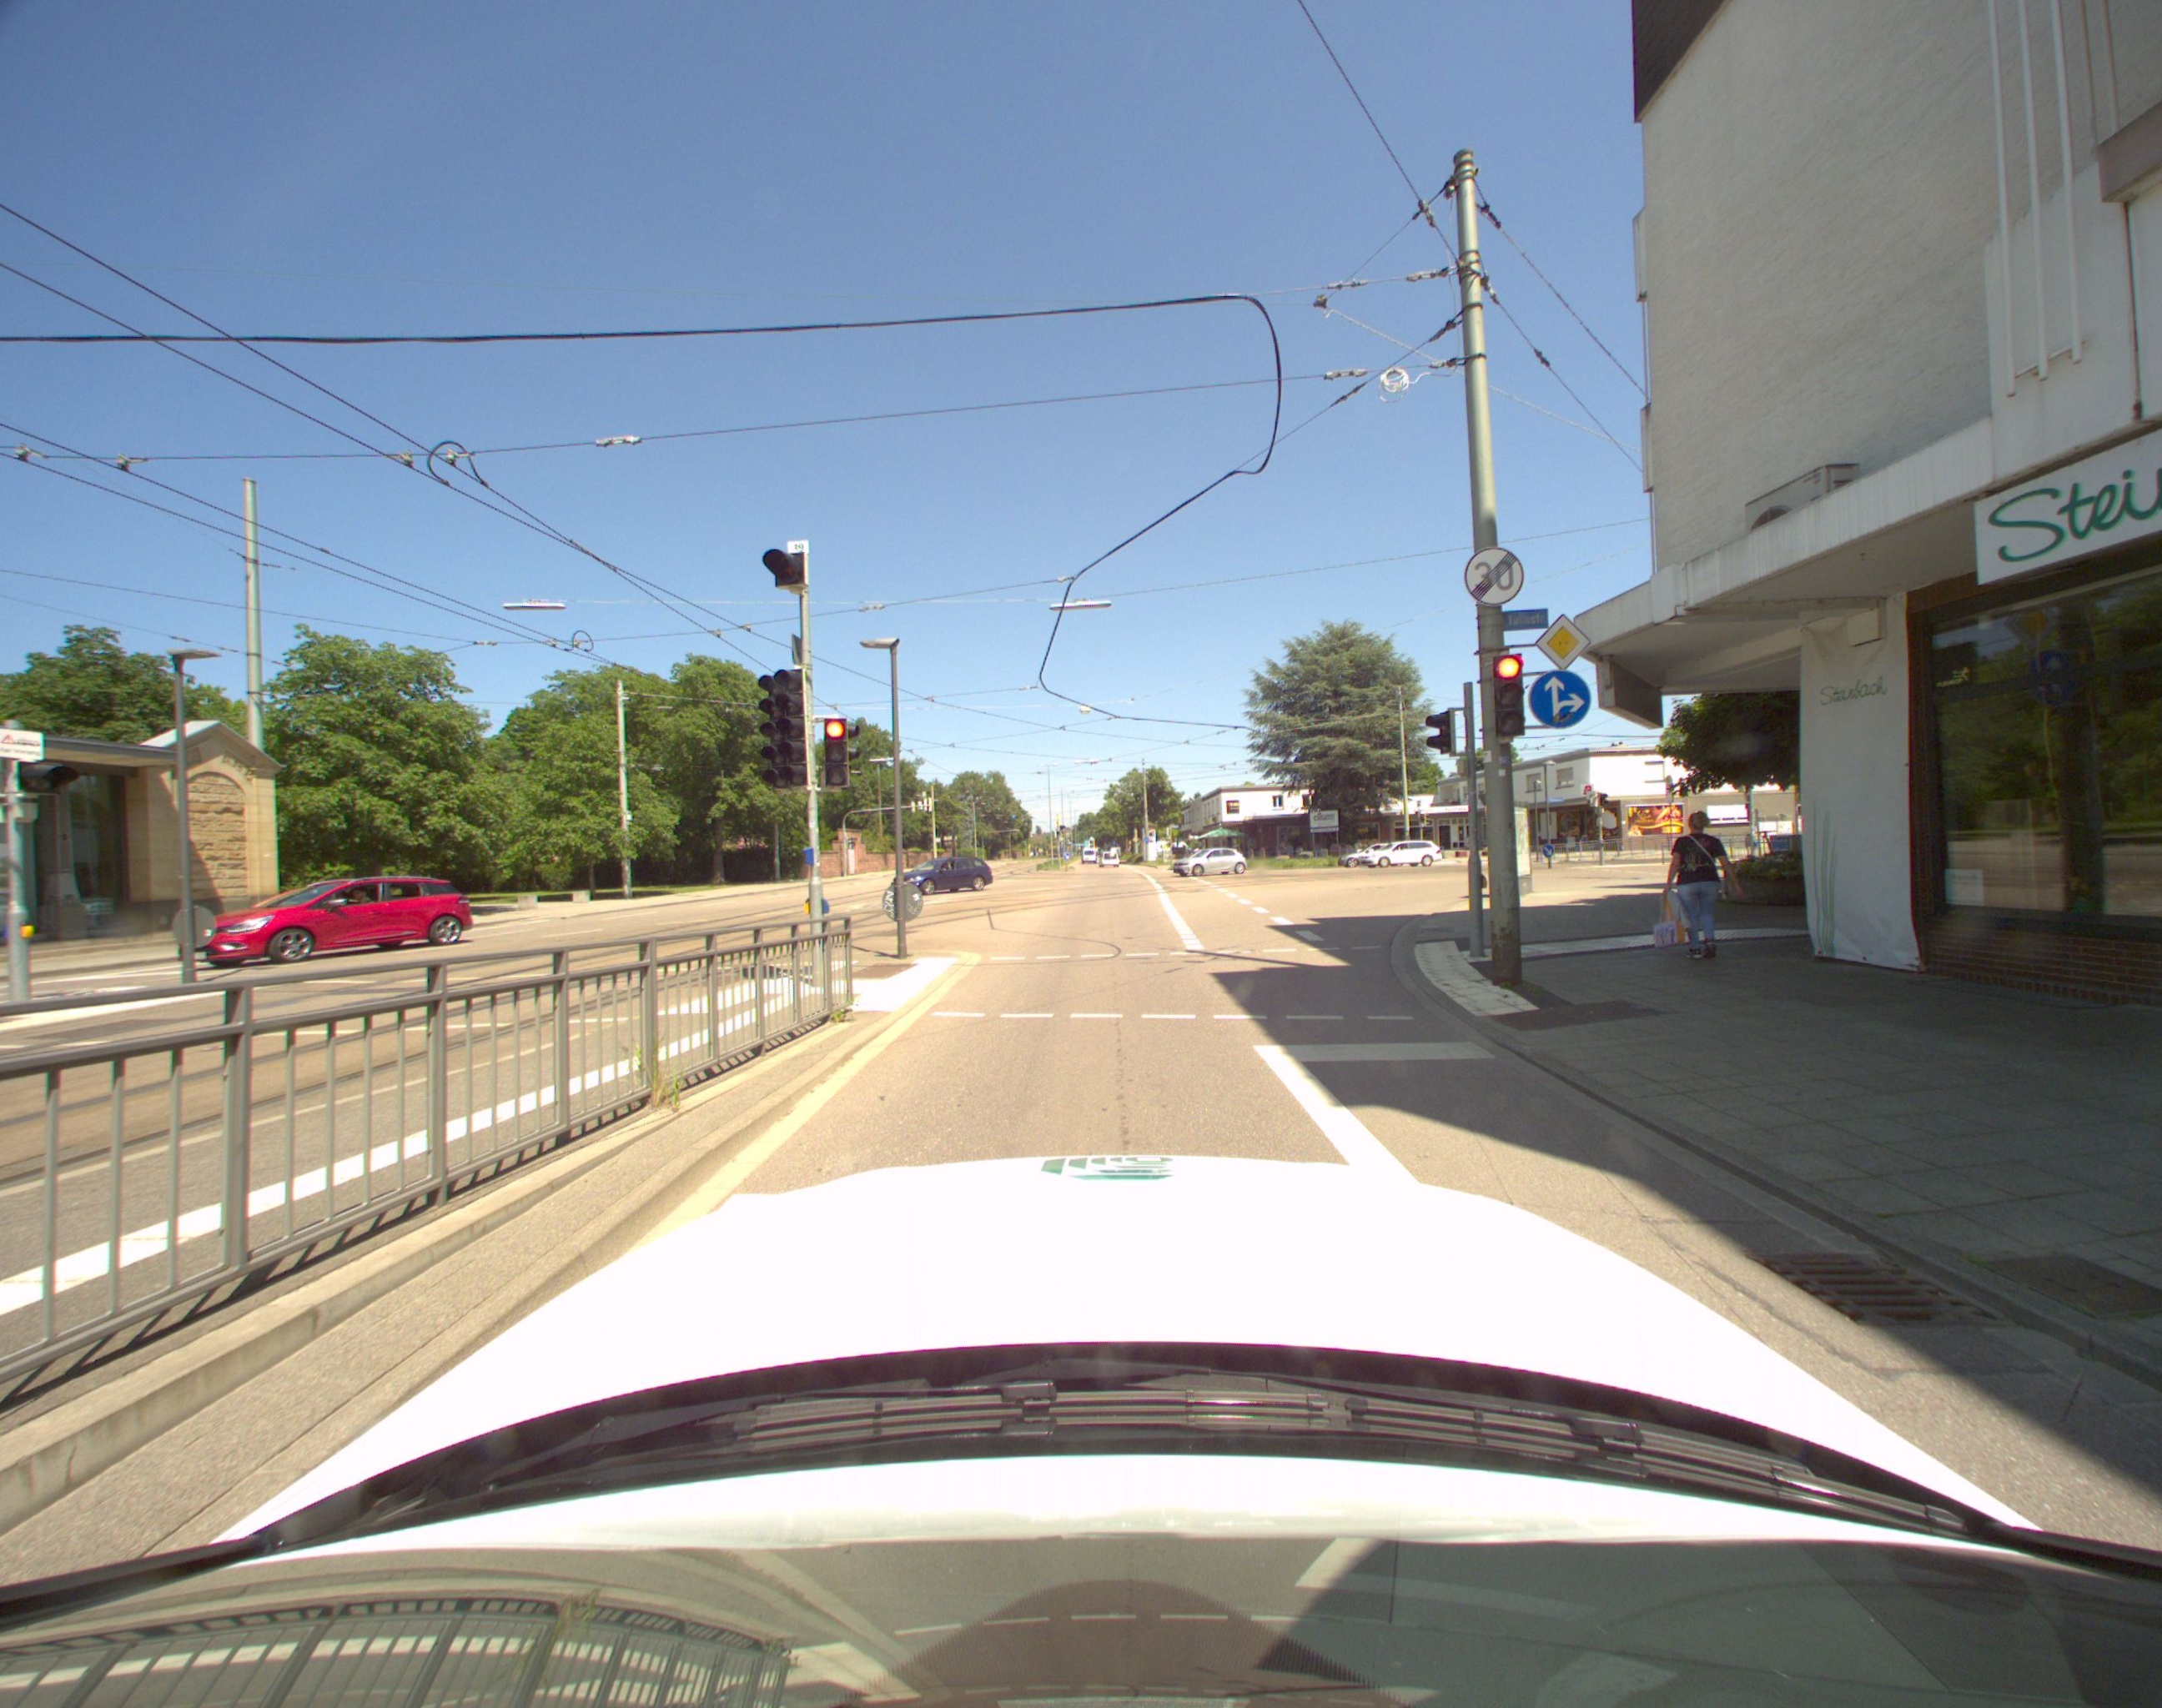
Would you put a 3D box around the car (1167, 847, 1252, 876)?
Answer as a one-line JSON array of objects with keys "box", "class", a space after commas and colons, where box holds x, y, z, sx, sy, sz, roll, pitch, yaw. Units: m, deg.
[{"box": [6.845, 0.387, 43.423, 4.052, 1.362, 1.811, -2, 0, -21], "class": "car"}]

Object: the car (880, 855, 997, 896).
[{"box": [-5.761, 0.830, 33.410, 1.839, 1.442, 4.506, -2, 0, 42], "class": "car"}]

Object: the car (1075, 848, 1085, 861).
[{"box": [-0.146, 0.030, 130.261, 1.417, 2.013, 3.626, -2, 0, -3], "class": "car"}]

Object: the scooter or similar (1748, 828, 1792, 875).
[{"box": [18.683, -0.077, 22.078, 1.258, 1.212, 0.391, -2, 0, -26], "class": "scooter or similar"}]

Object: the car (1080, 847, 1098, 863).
[{"box": [0.958, 0.114, 98.155, 1.988, 1.859, 3.998, -2, 0, -1], "class": "car"}]

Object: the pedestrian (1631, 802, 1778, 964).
[{"box": [6.646, 0.298, 8.731, 0.822, 1.583, 0.828, -6, -1, 7], "class": "pedestrian"}]

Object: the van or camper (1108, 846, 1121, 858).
[{"box": [5.381, -0.370, 130.483, 1.915, 1.772, 4.002, -2, 0, 2], "class": "van or camper"}]

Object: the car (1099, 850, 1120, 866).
[{"box": [2.703, 0.411, 77.458, 1.666, 1.435, 3.471, -2, 0, -2], "class": "car"}]

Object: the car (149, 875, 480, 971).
[{"box": [-14.226, 1.201, 15.493, 1.804, 1.395, 4.193, -2, 0, 16], "class": "car"}]

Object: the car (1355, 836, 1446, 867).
[{"box": [18.231, -0.122, 46.582, 4.476, 1.489, 1.821, -3, 0, -4], "class": "car"}]

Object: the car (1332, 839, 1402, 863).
[{"box": [17.696, -0.185, 50.531, 3.811, 1.351, 1.644, -2, 0, 5], "class": "car"}]

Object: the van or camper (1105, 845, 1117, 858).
[{"box": [5.609, -0.491, 152.964, 1.988, 2.464, 3.998, -2, 0, -2], "class": "van or camper"}]

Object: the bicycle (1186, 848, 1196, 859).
[{"box": [11.400, -0.051, 84.414, 1.028, 1.014, 2.643, -2, 0, 8], "class": "bicycle"}]

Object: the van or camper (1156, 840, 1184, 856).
[{"box": [15.645, -1.113, 143.275, 4.742, 2.671, 2.135, -2, 0, -1], "class": "van or camper"}]
